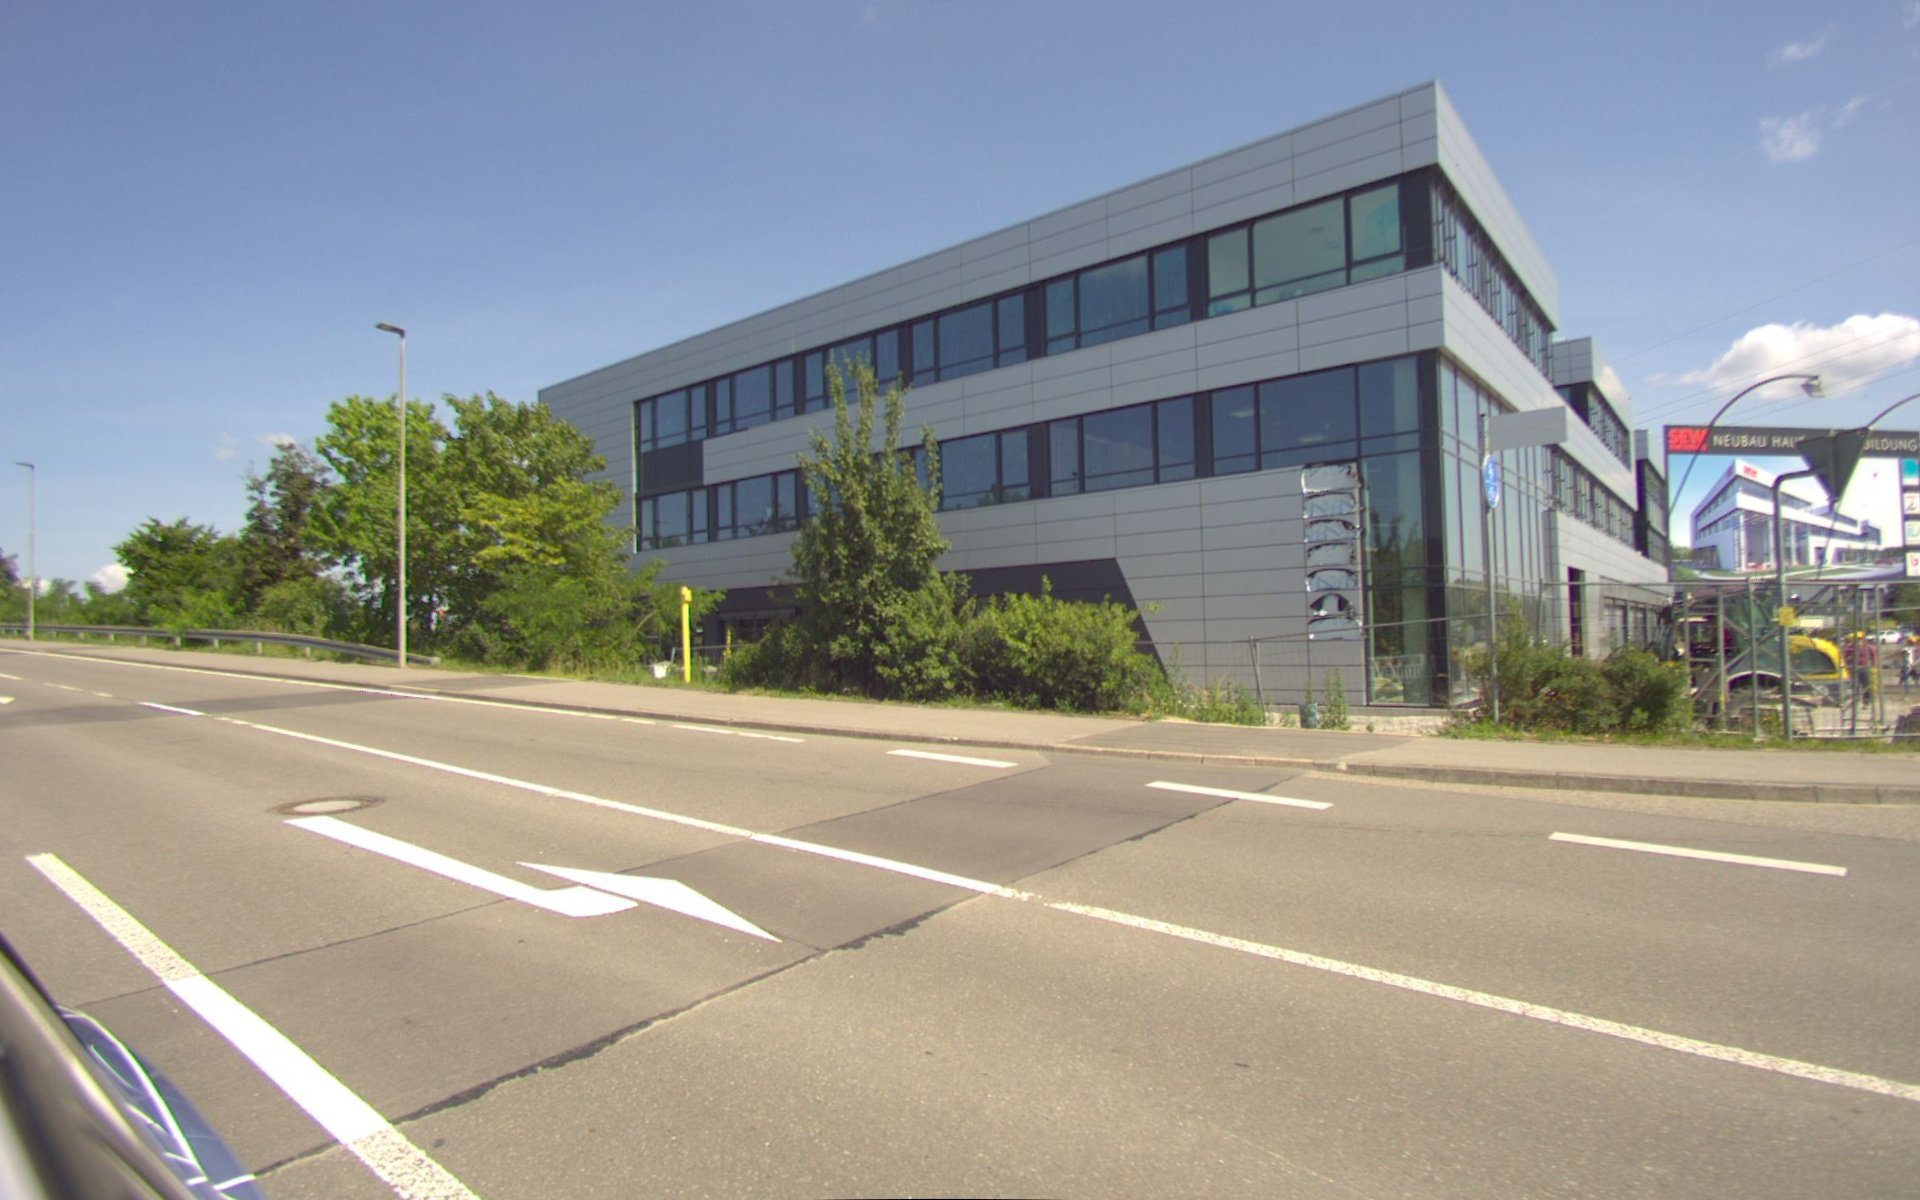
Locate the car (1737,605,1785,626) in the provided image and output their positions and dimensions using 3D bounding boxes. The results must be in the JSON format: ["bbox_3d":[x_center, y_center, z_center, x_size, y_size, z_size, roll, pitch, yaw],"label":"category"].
[{"bbox_3d":[87.605,1.673,110.782,3.993,2.173,1.975,-2,-2,37],"label":"car"}]

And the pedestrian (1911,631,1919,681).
[{"bbox_3d":[30.208,1.743,31.624,0.521,1.530,0.444,-1,-2,15],"label":"pedestrian"}]

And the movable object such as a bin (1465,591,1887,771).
[{"bbox_3d":[12.016,1.220,17.615,5.711,2.719,2.060,0,0,29],"label":"movable object such as a bin"}]

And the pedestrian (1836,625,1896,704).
[{"bbox_3d":[22.076,1.545,24.662,1.007,1.868,0.823,-3,-2,44],"label":"pedestrian"}]
